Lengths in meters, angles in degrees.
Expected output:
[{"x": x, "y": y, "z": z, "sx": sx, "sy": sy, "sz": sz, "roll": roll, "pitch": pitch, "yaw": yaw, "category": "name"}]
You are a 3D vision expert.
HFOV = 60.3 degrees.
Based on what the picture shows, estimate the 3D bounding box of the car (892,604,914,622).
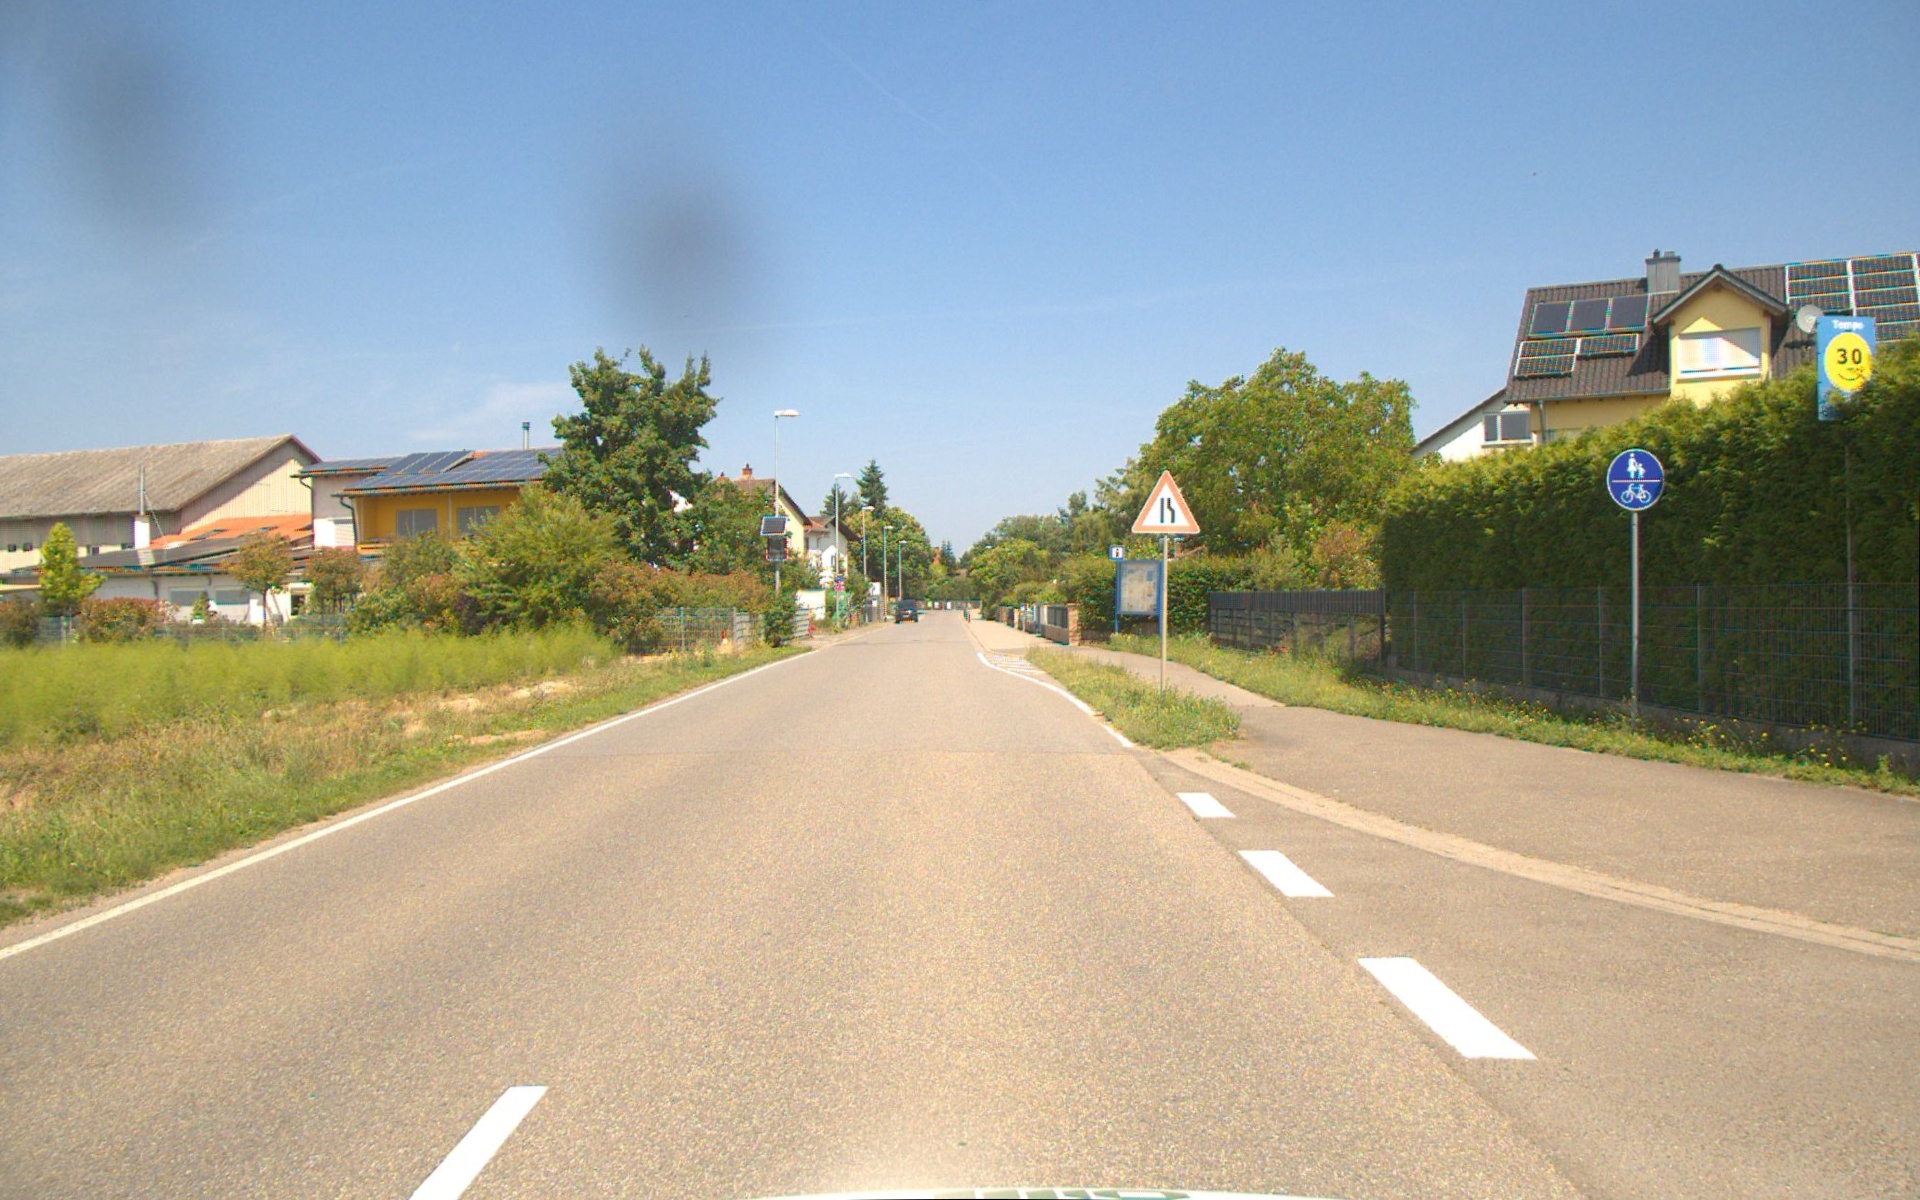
[{"x": -4.600, "y": 1.062, "z": 134.142, "sx": 1.723, "sy": 1.409, "sz": 3.452, "roll": -2, "pitch": 0, "yaw": -1, "category": "car"}]
